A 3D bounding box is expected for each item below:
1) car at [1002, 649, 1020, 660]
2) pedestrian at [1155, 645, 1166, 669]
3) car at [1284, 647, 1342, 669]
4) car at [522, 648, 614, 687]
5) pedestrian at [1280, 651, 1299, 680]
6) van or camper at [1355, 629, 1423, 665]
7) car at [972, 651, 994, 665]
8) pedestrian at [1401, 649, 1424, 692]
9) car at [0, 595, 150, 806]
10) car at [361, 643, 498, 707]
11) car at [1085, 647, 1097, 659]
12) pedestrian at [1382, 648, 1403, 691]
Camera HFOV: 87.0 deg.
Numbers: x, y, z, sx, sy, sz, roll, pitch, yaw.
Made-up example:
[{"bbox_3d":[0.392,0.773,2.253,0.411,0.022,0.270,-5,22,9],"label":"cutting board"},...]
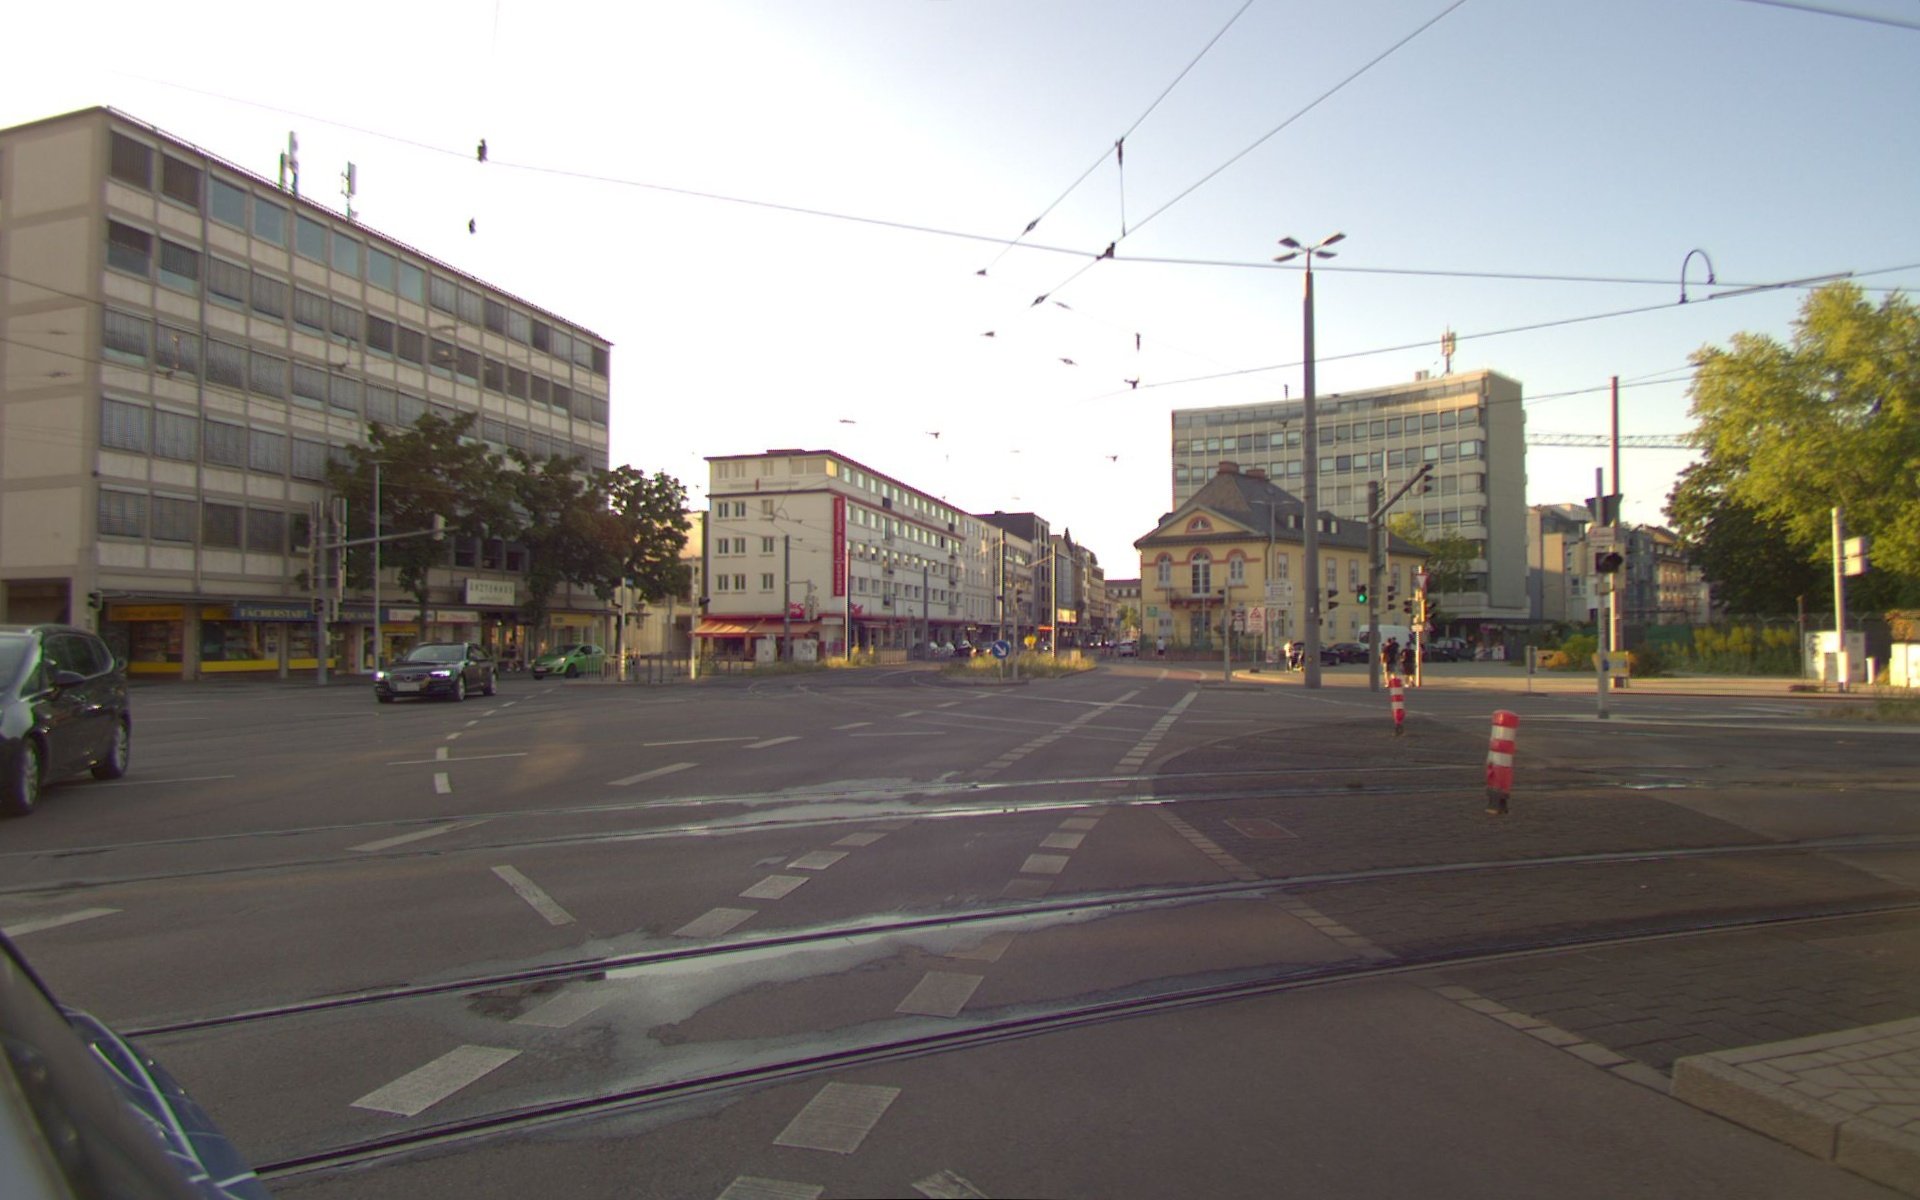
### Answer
[{"bbox_3d":[5.961,6.317,117.239,1.550,1.286,3.410,-1,-3,12],"label":"car"},{"bbox_3d":[12.928,3.673,65.287,0.585,1.522,0.651,-1,-4,17],"label":"pedestrian"},{"bbox_3d":[21.674,3.559,62.116,3.532,1.286,1.855,2,-3,-41],"label":"car"},{"bbox_3d":[-16.427,2.806,42.633,1.731,1.578,4.008,-1,-3,12],"label":"car"},{"bbox_3d":[15.976,3.166,49.123,0.580,1.351,0.657,1,-1,-34],"label":"pedestrian"},{"bbox_3d":[29.226,3.171,68.940,5.033,2.319,2.004,1,-3,-37],"label":"van or camper"},{"bbox_3d":[2.193,5.455,95.764,1.550,1.286,3.410,-1,-3,12],"label":"car"},{"bbox_3d":[16.002,2.483,35.804,0.585,1.522,0.652,-1,-4,15],"label":"pedestrian"},{"bbox_3d":[-8.982,0.844,9.023,1.770,1.631,4.401,1,-3,-26],"label":"car"},{"bbox_3d":[-12.894,1.786,24.876,1.822,1.419,4.234,0,-3,-11],"label":"car"},{"bbox_3d":[22.464,9.142,173.527,1.976,2.029,3.991,-1,-3,7],"label":"car"},{"bbox_3d":[15.408,2.476,36.071,0.585,1.522,0.652,-1,-4,15],"label":"pedestrian"}]
